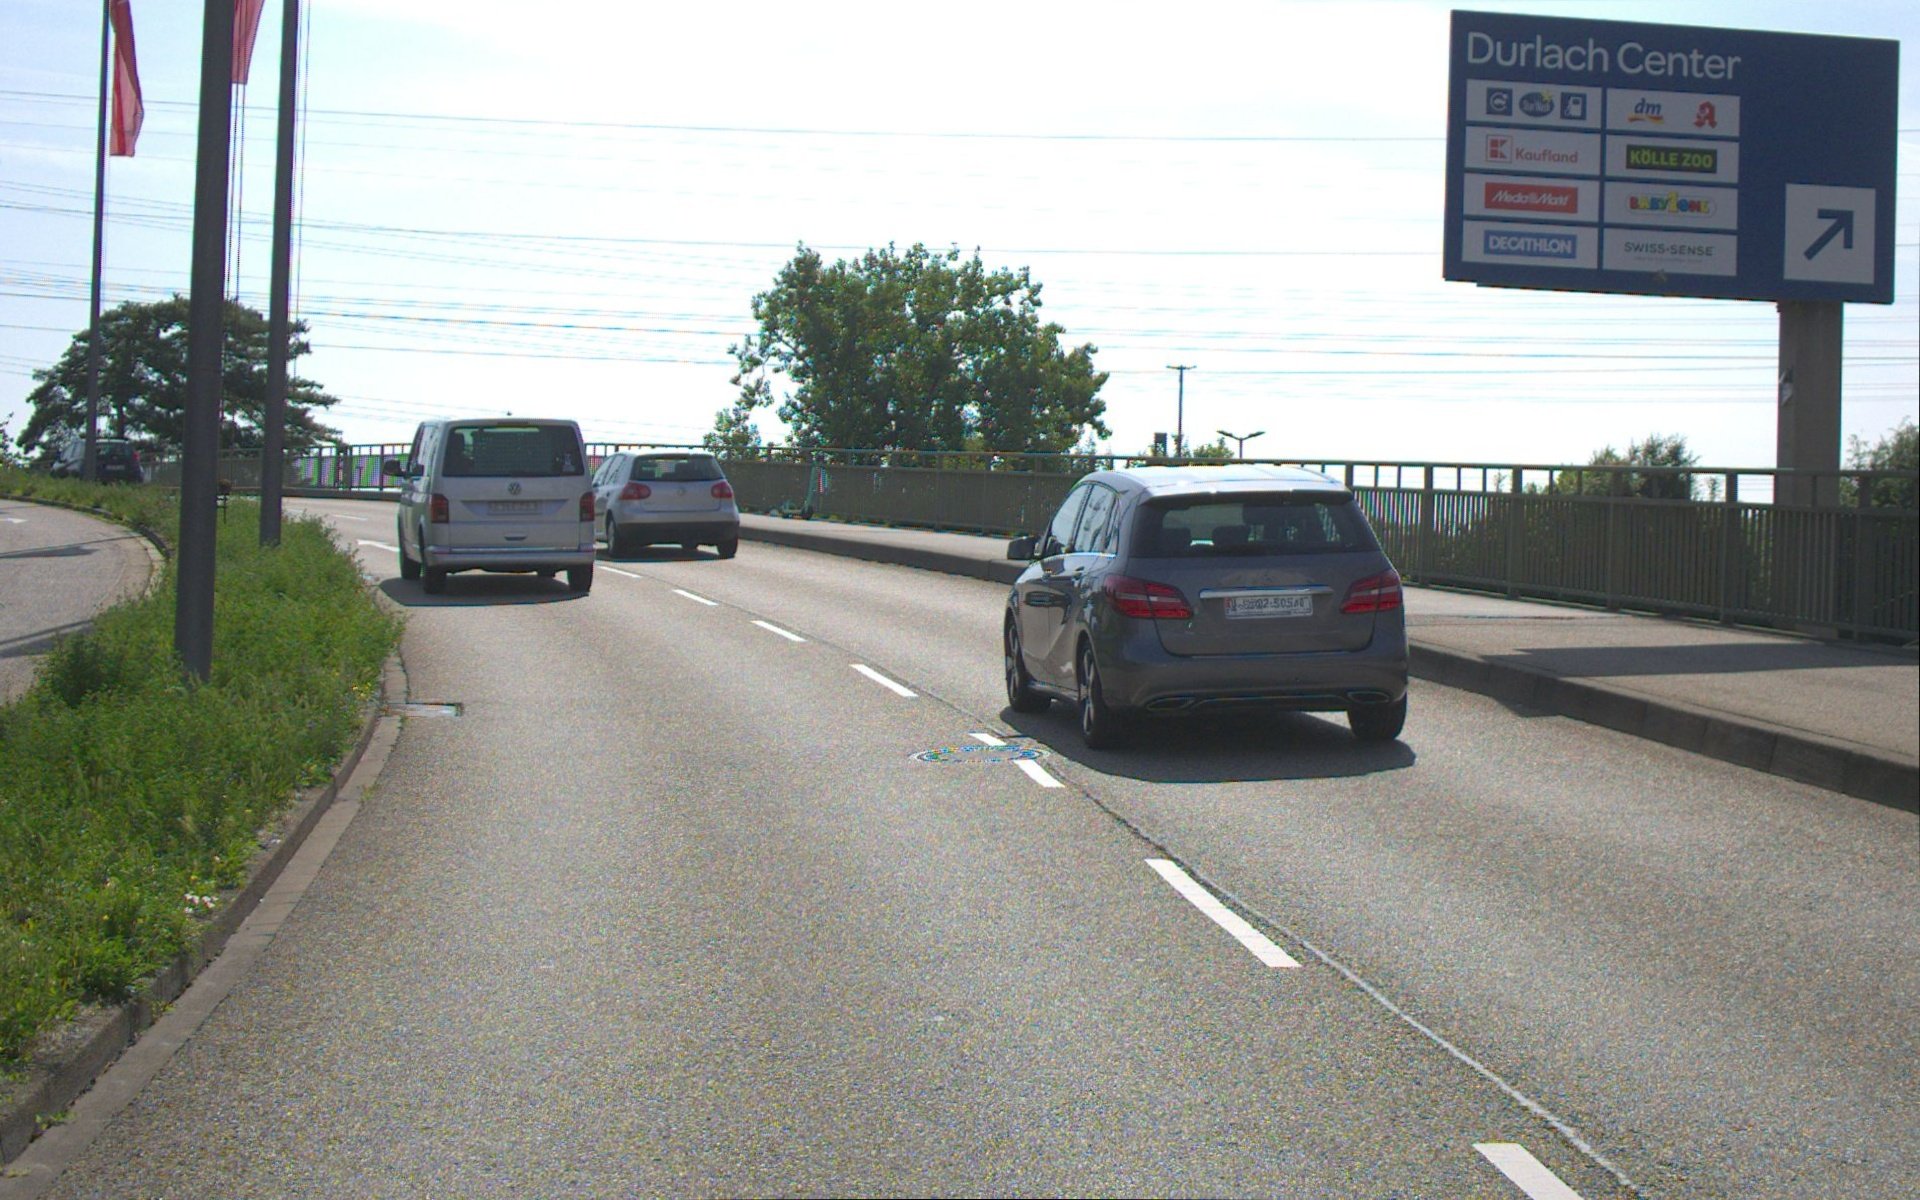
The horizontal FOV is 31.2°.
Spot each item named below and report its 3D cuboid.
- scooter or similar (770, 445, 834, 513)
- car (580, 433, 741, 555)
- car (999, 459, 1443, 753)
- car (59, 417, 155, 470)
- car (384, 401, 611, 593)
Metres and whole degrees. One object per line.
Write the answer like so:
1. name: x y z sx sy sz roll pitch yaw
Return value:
1. scooter or similar: -2.746 -2.103 59.482 0.511 1.138 1.482 1 2 -26
2. car: -4.206 -1.506 47.751 1.856 1.523 4.146 -2 4 -9
3. car: 1.409 -0.015 20.244 1.856 1.524 4.145 1 1 -6
4. car: -22.589 -4.144 90.946 1.773 1.327 3.742 -1 4 -25
5. car: -5.264 -1.215 38.727 2.038 2.006 4.002 -2 3 -14
